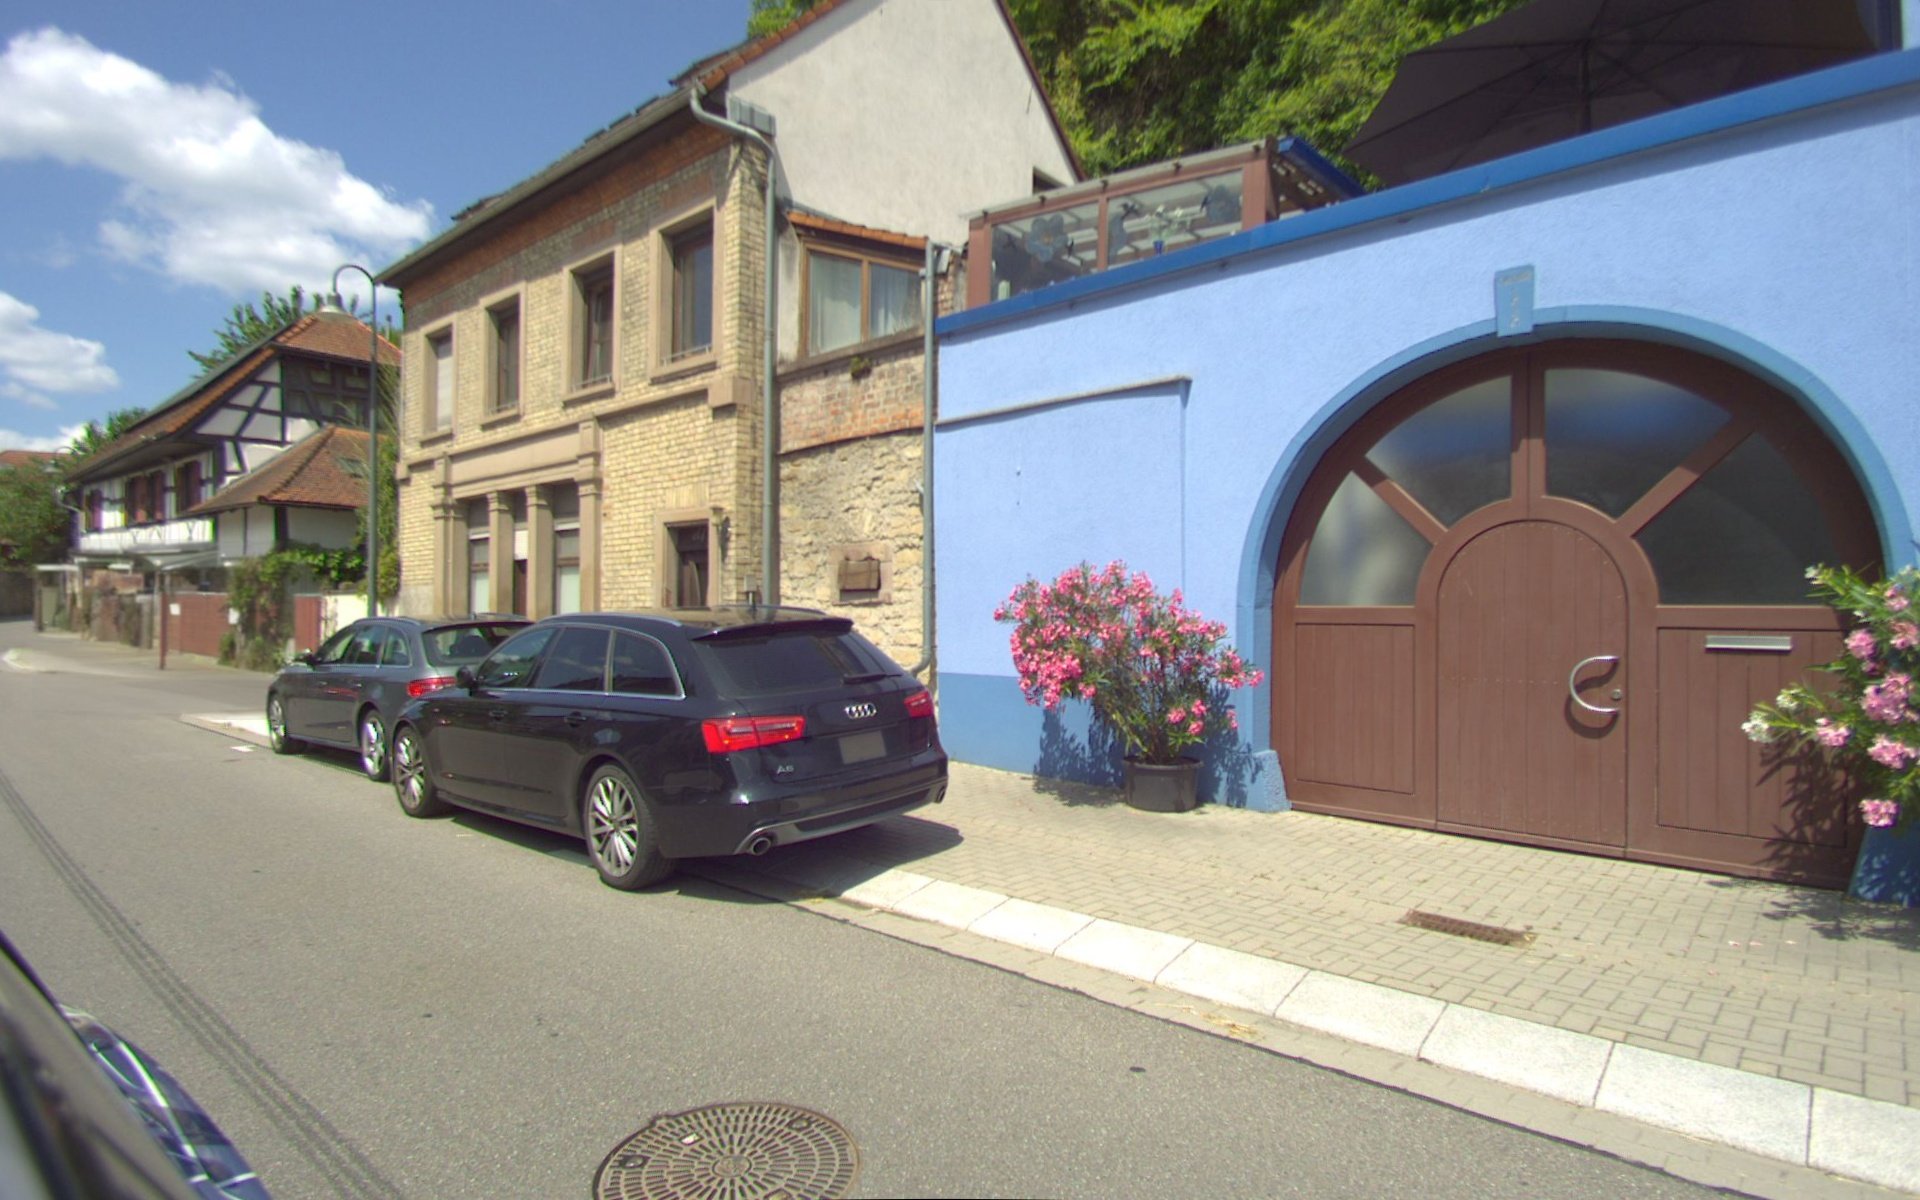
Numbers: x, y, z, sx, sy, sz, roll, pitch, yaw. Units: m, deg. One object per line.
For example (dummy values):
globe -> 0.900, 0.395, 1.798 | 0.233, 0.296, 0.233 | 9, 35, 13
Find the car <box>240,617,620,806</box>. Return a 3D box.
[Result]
car -> -5.581, 0.936, 10.382 | 4.543, 1.477, 1.936 | 0, -1, 41

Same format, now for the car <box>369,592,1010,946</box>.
car -> -2.068, 0.790, 6.653 | 4.669, 1.475, 1.864 | -2, 0, 43
